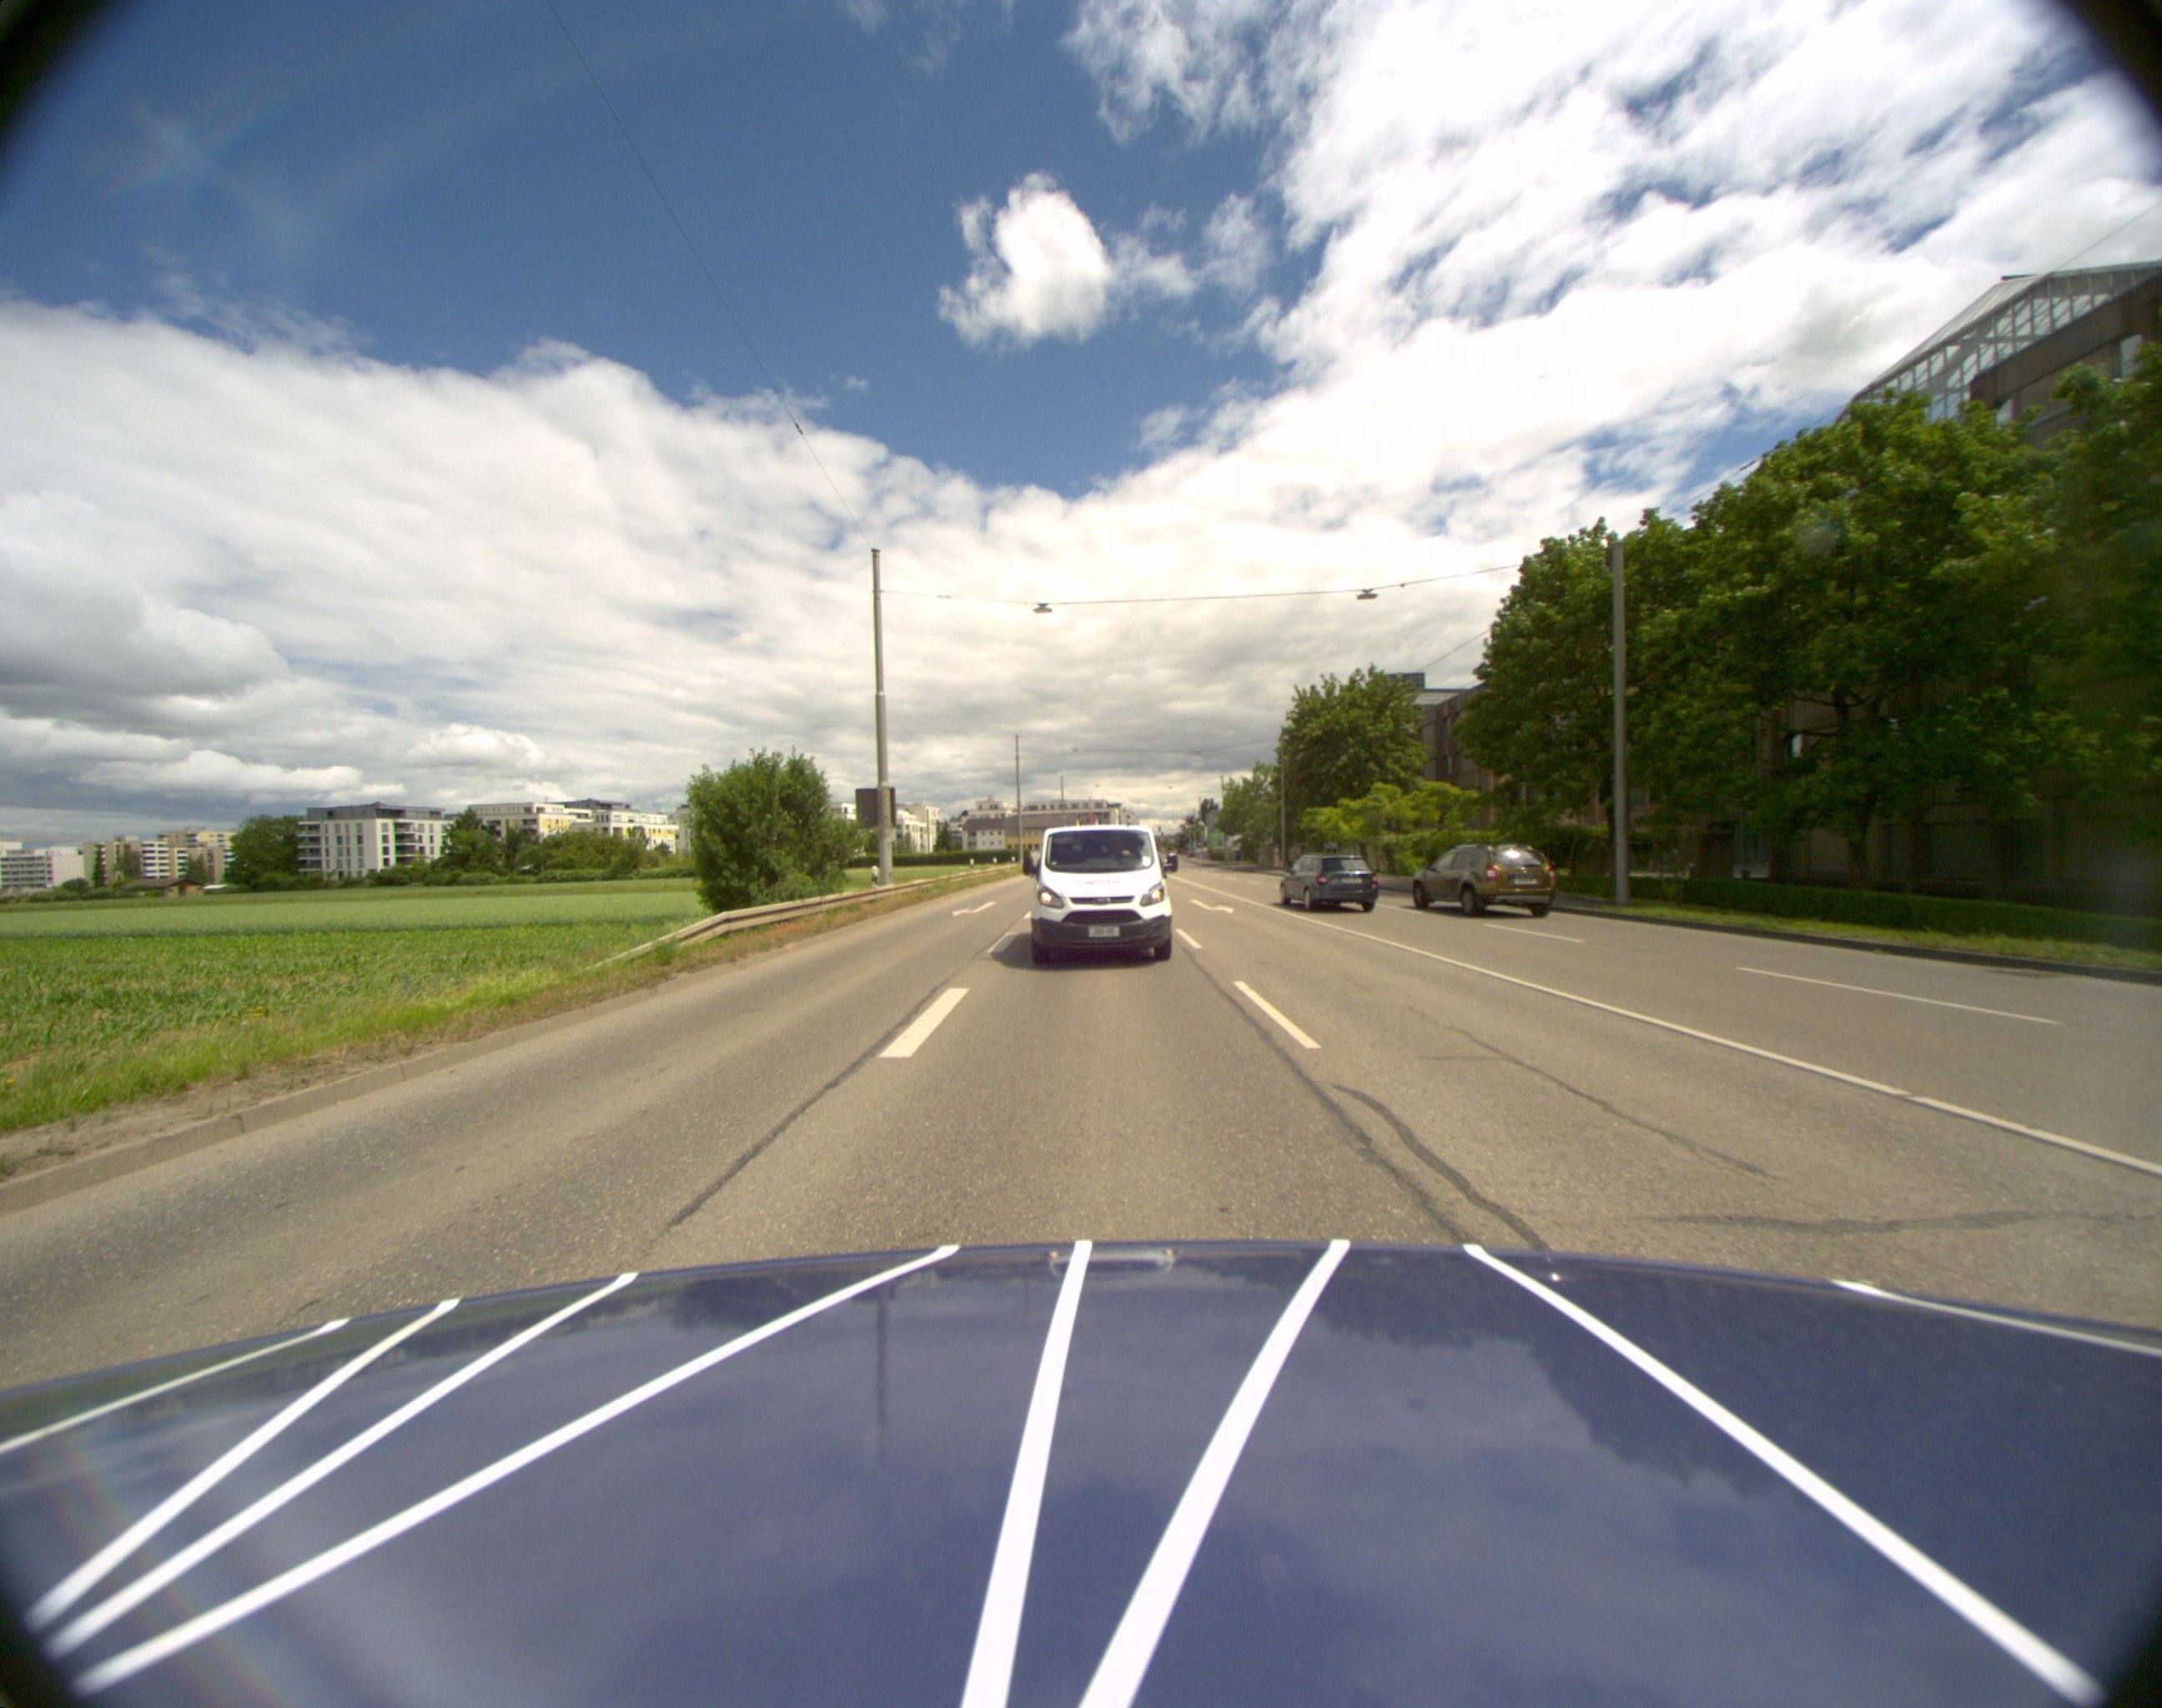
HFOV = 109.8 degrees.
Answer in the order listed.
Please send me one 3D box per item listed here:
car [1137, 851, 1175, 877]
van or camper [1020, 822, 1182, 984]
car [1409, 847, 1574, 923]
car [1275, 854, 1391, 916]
[{"bbox_3d":[4.346,0.557,44.602,1.894,1.433,4.000,-2,0,1],"label":"car"},{"bbox_3d":[0.292,0.601,12.537,1.998,2.002,5.799,-2,0,1],"label":"van or camper"},{"bbox_3d":[9.754,0.653,18.451,1.897,1.587,4.000,-1,1,1],"label":"car"},{"bbox_3d":[6.527,0.730,20.140,1.800,1.445,4.000,0,0,1],"label":"car"}]
